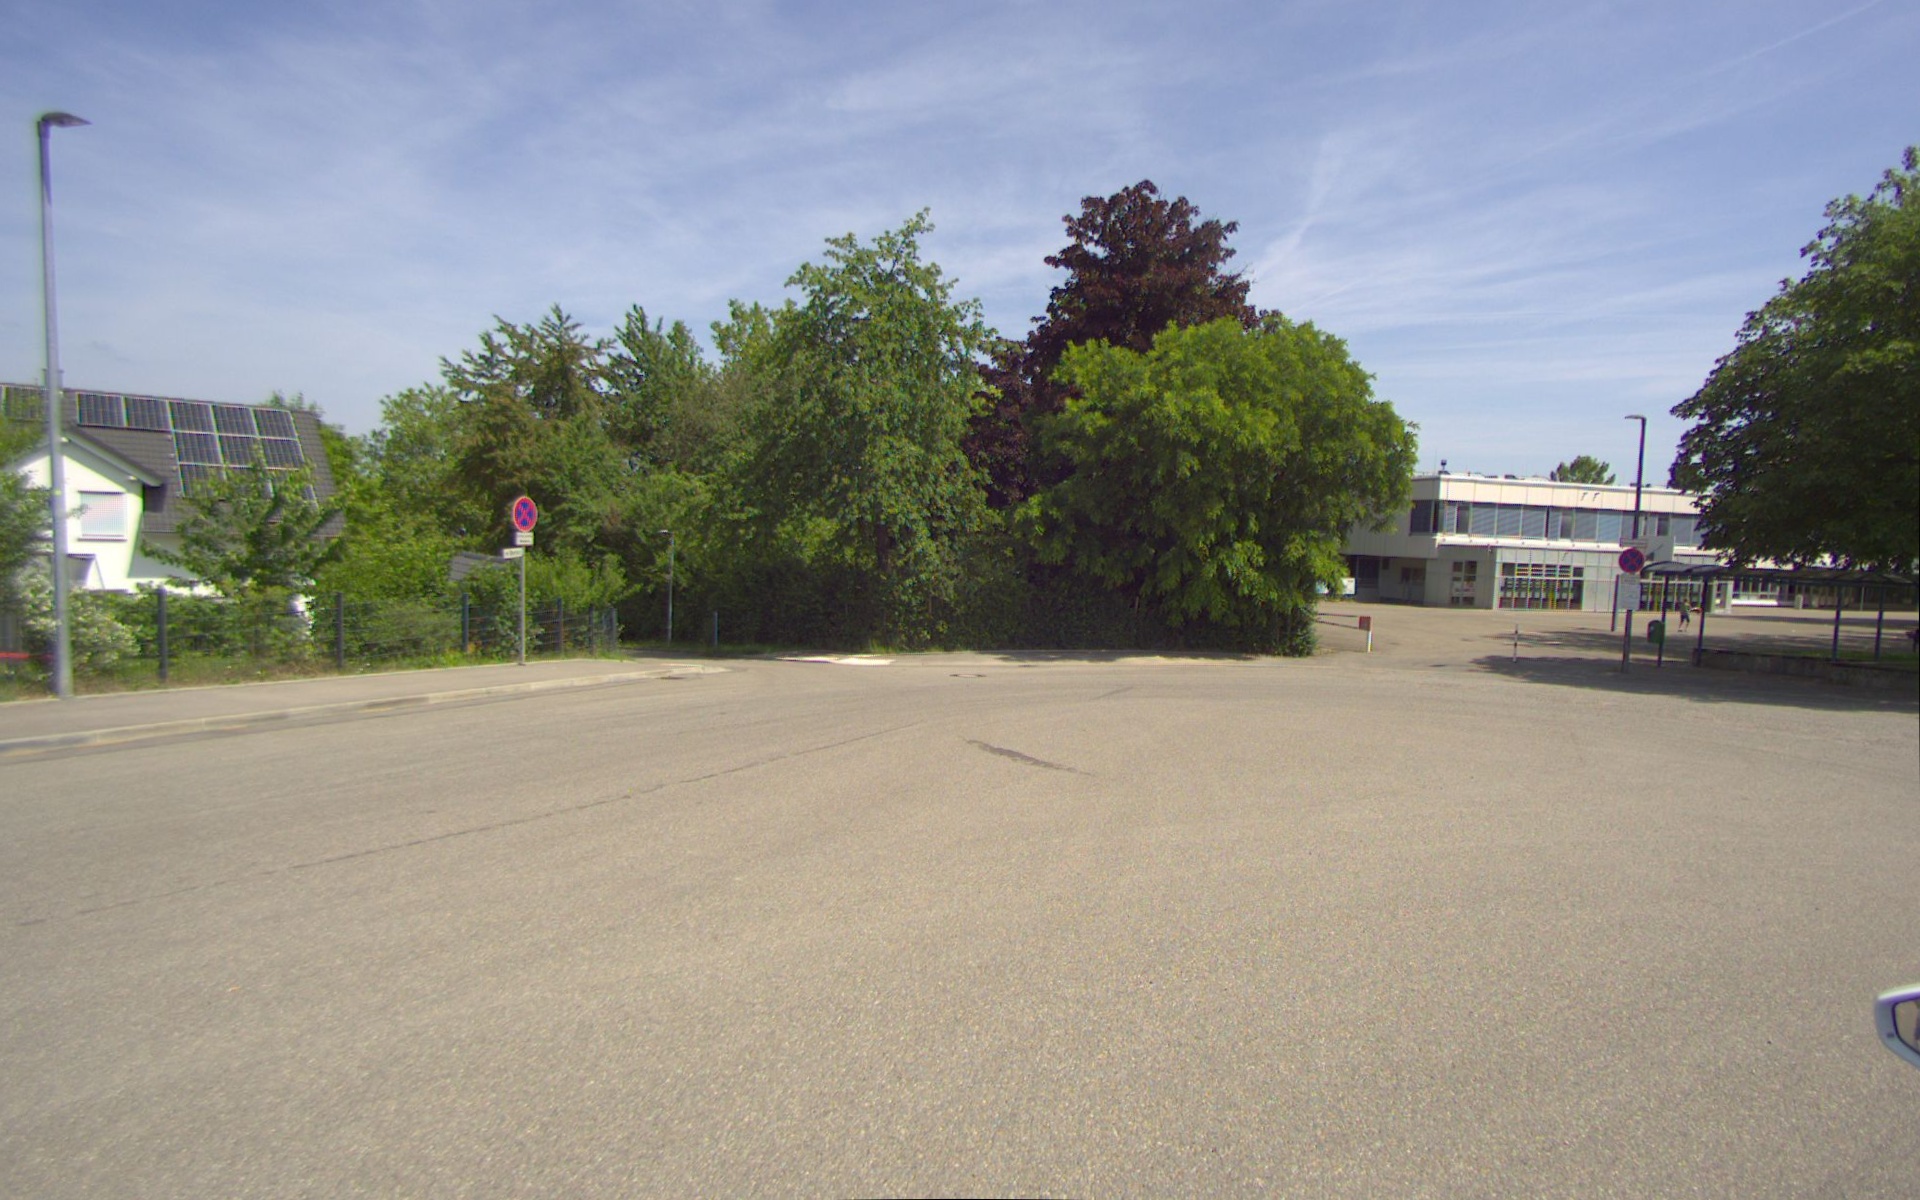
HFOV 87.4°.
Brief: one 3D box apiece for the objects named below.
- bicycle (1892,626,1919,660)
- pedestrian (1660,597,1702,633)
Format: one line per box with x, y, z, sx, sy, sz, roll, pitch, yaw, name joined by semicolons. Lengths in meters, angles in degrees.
31.047;1.398;32.432;1.864;1.053;0.594;1;1;-20;bicycle
30.401;0.611;42.360;1.051;1.442;0.917;2;2;-12;pedestrian
